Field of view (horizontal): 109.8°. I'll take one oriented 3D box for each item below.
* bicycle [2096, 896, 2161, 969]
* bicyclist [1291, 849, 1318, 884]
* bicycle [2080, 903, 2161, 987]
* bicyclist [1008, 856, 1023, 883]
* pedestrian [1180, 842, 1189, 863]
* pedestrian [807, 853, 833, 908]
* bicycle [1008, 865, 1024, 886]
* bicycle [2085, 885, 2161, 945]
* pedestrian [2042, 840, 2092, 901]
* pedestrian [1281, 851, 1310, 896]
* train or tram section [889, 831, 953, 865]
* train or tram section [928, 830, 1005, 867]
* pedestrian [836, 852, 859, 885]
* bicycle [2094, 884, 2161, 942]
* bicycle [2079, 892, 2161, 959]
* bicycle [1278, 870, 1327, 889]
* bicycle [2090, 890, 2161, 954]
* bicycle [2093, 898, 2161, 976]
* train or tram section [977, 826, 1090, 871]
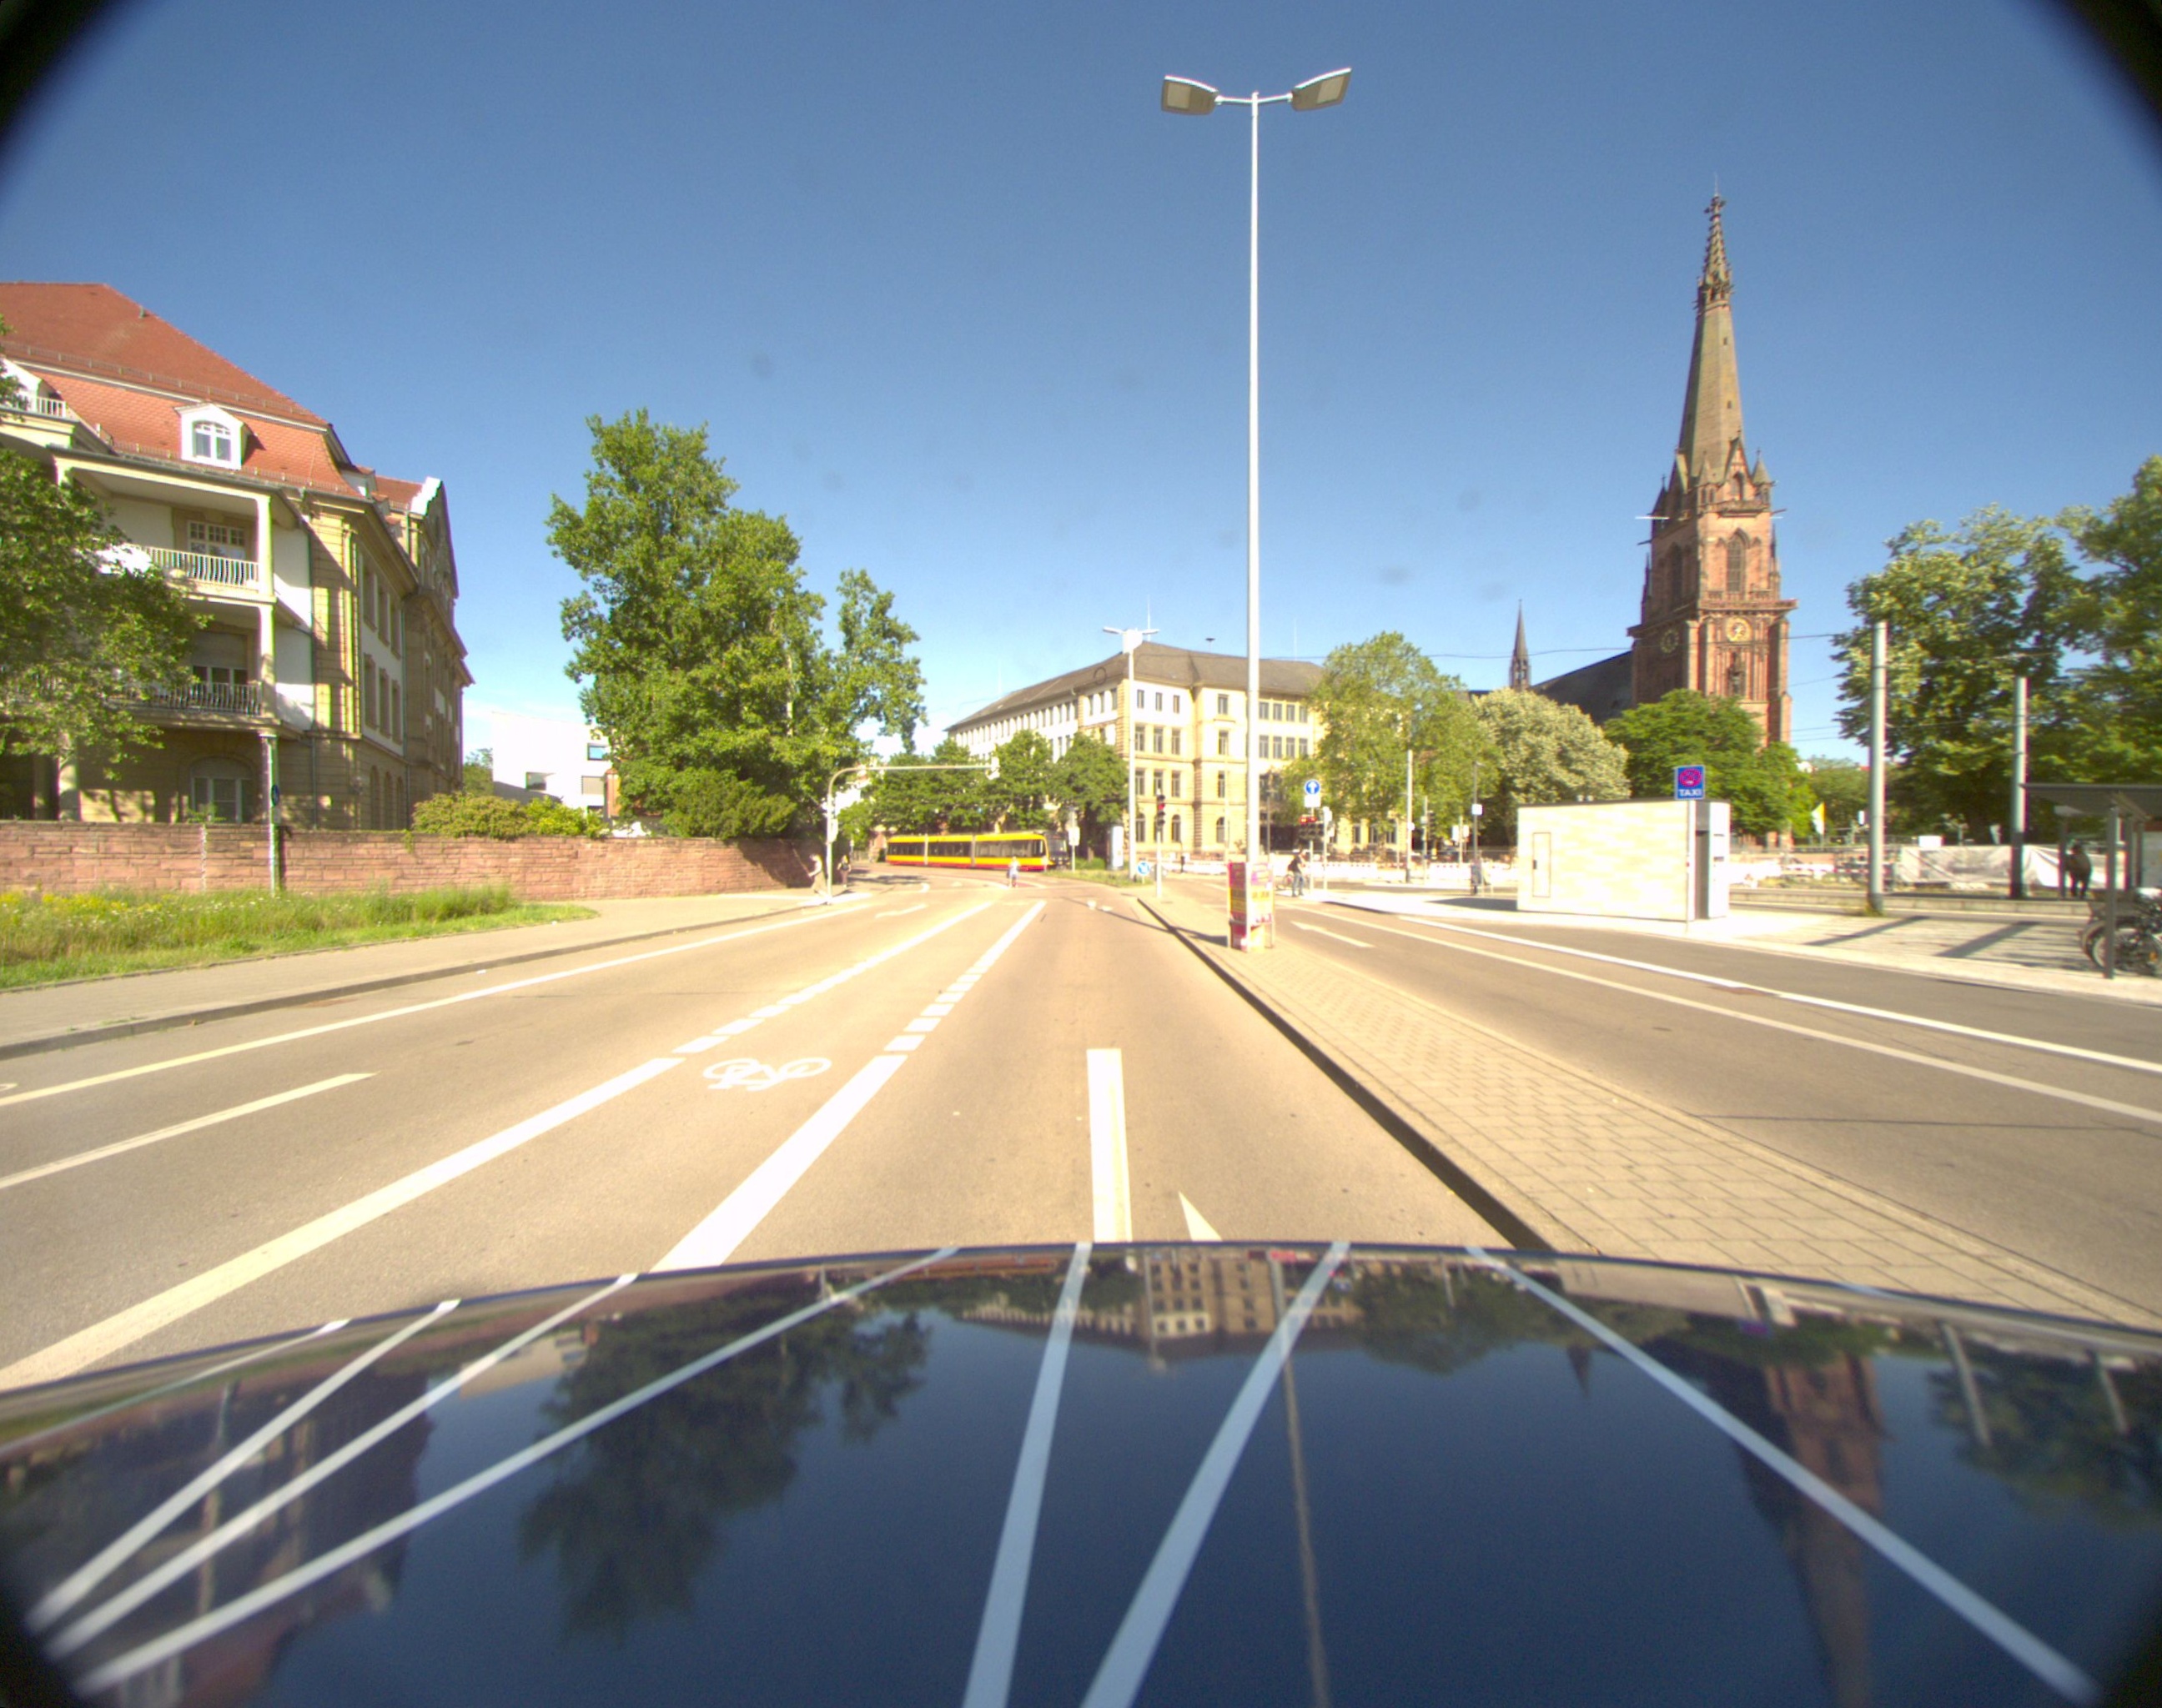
[{"bbox_3d":[16.136,1.184,11.000,0.407,0.993,1.678,-3,3,-33],"label":"bicycle"},{"bbox_3d":[10.016,0.541,34.109,0.886,1.562,0.740,-1,1,-17],"label":"bicyclist"},{"bbox_3d":[13.993,1.189,9.551,0.407,0.993,1.678,-3,3,-33],"label":"bicycle"},{"bbox_3d":[-3.430,0.779,39.650,0.741,1.363,0.626,-2,1,-6],"label":"bicyclist"},{"bbox_3d":[8.753,-0.128,64.290,0.540,1.710,0.545,-1,1,-37],"label":"pedestrian"},{"bbox_3d":[-9.083,0.901,26.447,0.632,1.847,0.785,-1,1,-38],"label":"pedestrian"},{"bbox_3d":[-3.412,1.124,39.669,0.741,0.989,2.305,-2,1,-6],"label":"bicycle"},{"bbox_3d":[19.036,1.085,13.338,0.407,0.993,1.679,-3,2,-33],"label":"bicycle"},{"bbox_3d":[30.622,0.499,23.605,0.619,1.849,0.703,0,1,11],"label":"pedestrian"},{"bbox_3d":[8.310,0.741,29.419,1.001,1.733,0.631,0,1,8],"label":"pedestrian"},{"bbox_3d":[-18.344,-0.674,86.276,2.947,3.662,11.646,-1,1,-34],"label":"train or tram section"},{"bbox_3d":[-11.780,-0.554,76.686,2.947,3.500,11.646,-1,1,-34],"label":"train or tram section"},{"bbox_3d":[-11.860,0.753,38.669,0.931,1.657,0.631,0,1,6],"label":"pedestrian"},{"bbox_3d":[19.521,1.066,13.580,0.407,0.993,1.679,-3,2,-33],"label":"bicycle"},{"bbox_3d":[17.192,1.143,12.013,0.407,0.993,1.679,-3,2,-33],"label":"bicycle"},{"bbox_3d":[9.937,1.132,34.099,2.054,0.777,0.740,0,1,-18],"label":"bicycle"},{"bbox_3d":[17.972,1.139,12.460,0.407,0.993,1.679,-3,2,-33],"label":"bicycle"},{"bbox_3d":[15.038,1.167,10.209,0.407,0.993,1.678,-3,3,-33],"label":"bicycle"},{"bbox_3d":[-4.473,-0.486,66.269,2.947,3.500,13.802,-1,1,-36],"label":"train or tram section"}]
